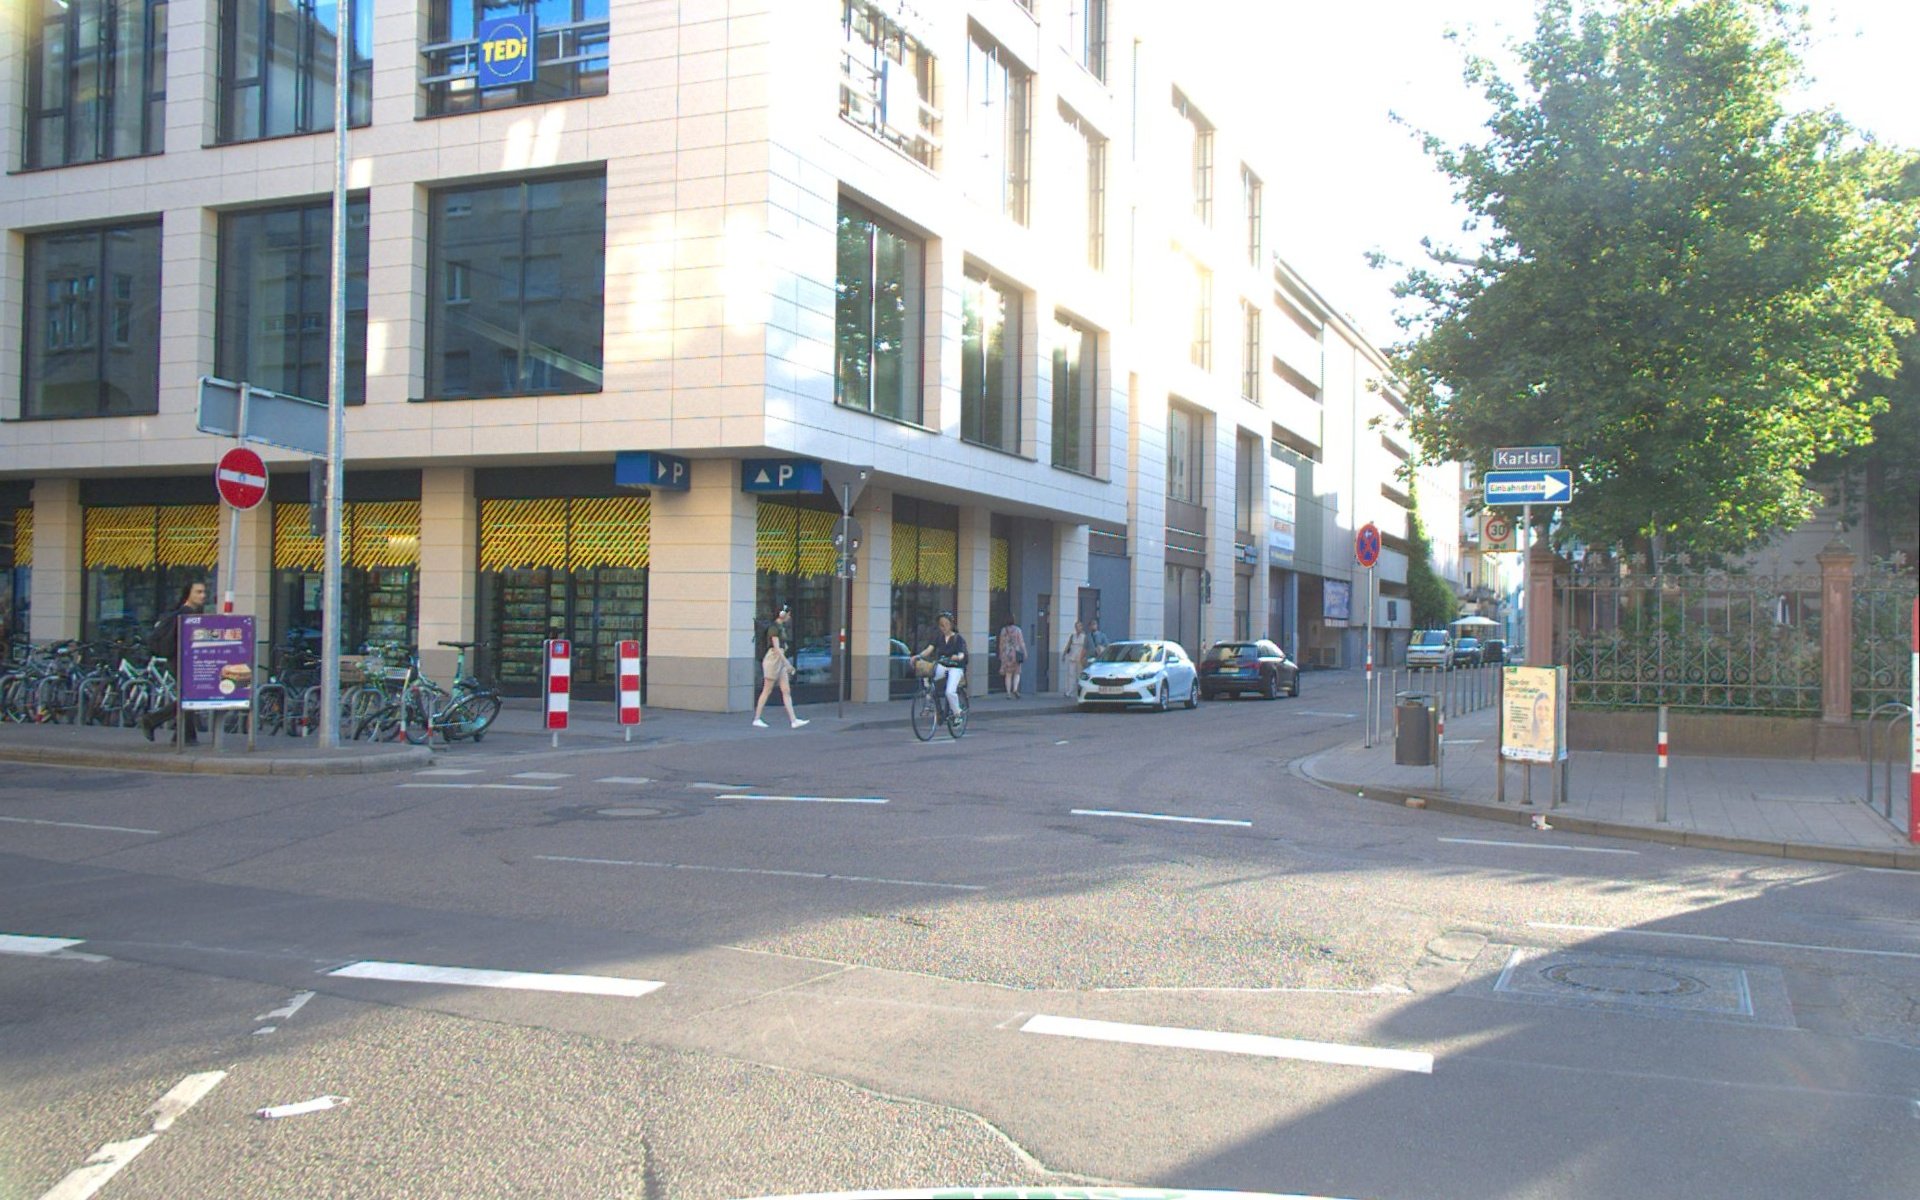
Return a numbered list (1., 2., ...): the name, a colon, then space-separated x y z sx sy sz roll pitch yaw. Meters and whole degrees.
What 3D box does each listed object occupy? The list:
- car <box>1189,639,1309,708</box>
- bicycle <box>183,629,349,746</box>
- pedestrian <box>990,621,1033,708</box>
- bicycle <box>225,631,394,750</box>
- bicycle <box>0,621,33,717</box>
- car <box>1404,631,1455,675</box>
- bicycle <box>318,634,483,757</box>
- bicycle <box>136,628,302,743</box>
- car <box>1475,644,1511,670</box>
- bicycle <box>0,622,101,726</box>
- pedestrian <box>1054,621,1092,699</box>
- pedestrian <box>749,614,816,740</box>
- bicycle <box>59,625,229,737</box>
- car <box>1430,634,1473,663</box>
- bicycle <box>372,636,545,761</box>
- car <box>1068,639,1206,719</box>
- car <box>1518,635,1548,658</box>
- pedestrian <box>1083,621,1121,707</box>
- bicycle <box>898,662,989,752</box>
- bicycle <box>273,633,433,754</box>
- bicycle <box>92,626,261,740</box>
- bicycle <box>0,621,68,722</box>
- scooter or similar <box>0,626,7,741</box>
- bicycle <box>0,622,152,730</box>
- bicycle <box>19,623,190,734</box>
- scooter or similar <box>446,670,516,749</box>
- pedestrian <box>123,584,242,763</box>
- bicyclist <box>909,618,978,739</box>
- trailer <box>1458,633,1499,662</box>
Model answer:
1. car: 7.482 1.830 42.454 1.846 1.626 4.685 1 -1 25
2. bicycle: -8.033 1.005 19.257 0.501 1.277 1.978 1 -2 21
3. pedestrian: 1.071 1.326 34.396 0.658 1.775 0.647 1 -1 23
4. bicycle: -7.384 1.017 18.890 0.501 1.277 1.978 1 -2 23
5. bicycle: -13.160 0.895 21.535 0.501 1.277 1.978 1 -2 21
6. car: 22.124 2.461 77.867 1.845 1.945 4.747 1 -1 21
7. bicycle: -6.213 1.045 18.498 0.569 1.277 2.044 1 -2 19
8. bicycle: -8.732 0.990 19.580 0.501 1.277 1.979 1 -2 20
9. car: 32.601 3.453 101.117 1.845 1.478 3.999 1 -1 22
10. bicycle: -11.908 0.921 20.943 0.501 1.277 1.979 1 -2 20
11. pedestrian: 2.530 1.325 36.891 0.658 1.704 0.647 1 -1 21
12. pedestrian: -2.536 1.083 23.598 0.629 1.753 0.836 2 -1 -32
13. bicycle: -9.836 0.965 20.028 0.501 1.277 1.978 1 -2 21
14. car: 26.321 2.588 88.570 1.845 1.478 3.999 1 -1 22
15. bicycle: -5.496 1.063 18.273 0.650 1.277 2.141 1 -2 19
16. car: 3.731 1.577 34.179 1.741 1.478 4.230 1 -1 22
17. car: 45.860 3.738 132.331 1.953 1.713 3.998 1 -2 23
18. pedestrian: 3.145 1.412 36.657 0.658 1.869 0.647 1 -1 21
19. bicycle: -0.209 1.449 22.803 0.650 1.158 1.822 1 -2 19
20. bicycle: -6.813 1.030 18.677 0.501 1.277 1.979 1 -2 19
21. bicycle: -9.333 0.976 19.784 0.501 1.277 1.978 1 -2 21
22. bicycle: -12.482 0.908 21.170 0.501 1.277 1.978 1 -2 21
23. scooter or similar: -11.108 0.907 18.000 0.378 1.282 1.270 1 -2 21
24. bicycle: -11.130 0.940 20.688 0.501 1.277 1.978 1 -2 21
25. bicycle: -10.472 0.952 20.324 0.501 1.277 1.978 1 -2 21
26. scooter or similar: -5.743 1.304 19.854 0.378 0.899 0.770 1 -2 21
27. pedestrian: -7.520 0.704 16.032 0.854 1.687 0.617 2 -1 -11
28. bicyclist: -0.222 1.071 22.762 0.644 1.598 0.863 1 -2 19
29. trailer: 30.371 2.784 96.747 1.953 1.584 3.999 1 -2 22
